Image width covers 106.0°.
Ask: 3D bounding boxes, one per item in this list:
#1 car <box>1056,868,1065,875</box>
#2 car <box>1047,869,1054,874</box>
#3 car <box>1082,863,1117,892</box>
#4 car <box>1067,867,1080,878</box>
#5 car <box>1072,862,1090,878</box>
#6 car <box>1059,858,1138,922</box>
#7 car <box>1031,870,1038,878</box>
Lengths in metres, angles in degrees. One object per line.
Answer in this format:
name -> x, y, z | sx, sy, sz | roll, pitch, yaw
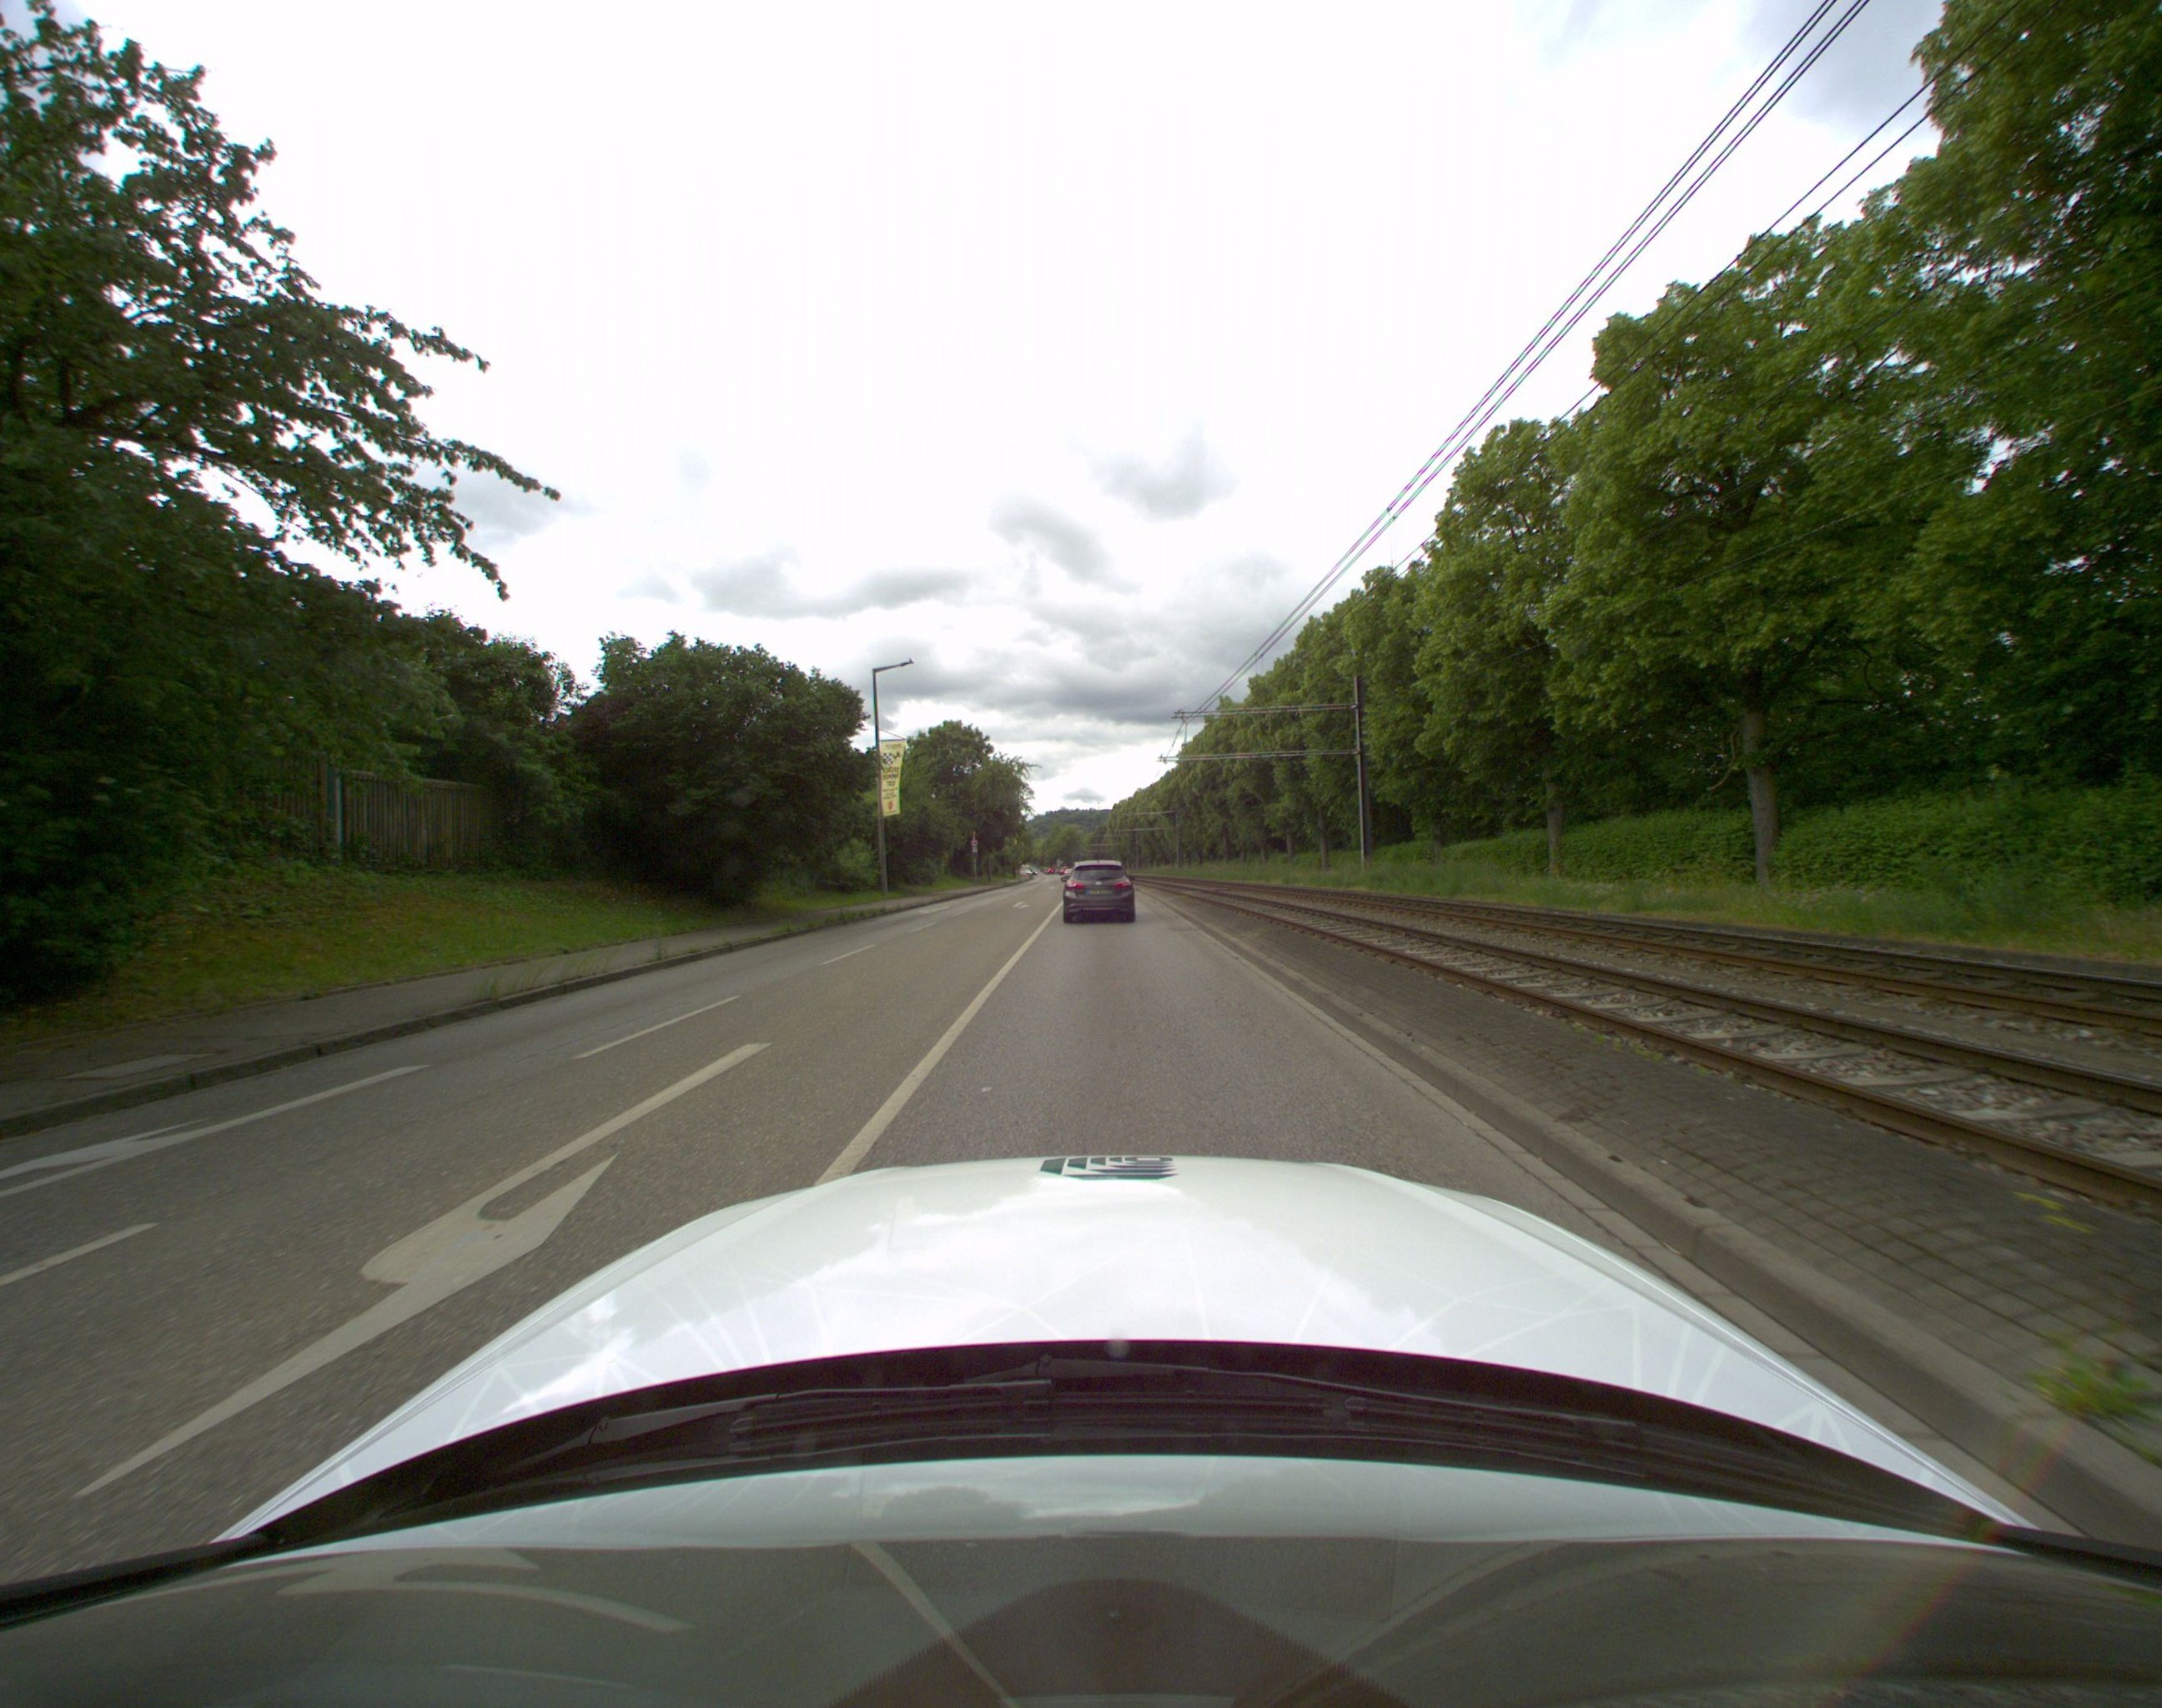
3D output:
car -> -4.493, 3.851, 176.939 | 1.788, 1.510, 3.999 | -1, -1, 0
car -> -9.275, 5.355, 247.986 | 1.694, 1.714, 3.999 | -1, -1, 0
car -> 0.909, 1.211, 42.357 | 1.694, 1.444, 3.998 | -1, -1, 0
car -> -1.021, 2.538, 111.546 | 1.694, 1.444, 3.999 | -1, -1, 0
car -> -0.014, 1.478, 76.881 | 1.694, 1.444, 3.998 | -1, -1, 0
car -> 0.469, 0.862, 21.298 | 1.844, 1.493, 4.001 | -1, 0, 1
car -> -13.467, 5.788, 237.514 | 1.989, 2.036, 5.110 | -2, -1, -2
